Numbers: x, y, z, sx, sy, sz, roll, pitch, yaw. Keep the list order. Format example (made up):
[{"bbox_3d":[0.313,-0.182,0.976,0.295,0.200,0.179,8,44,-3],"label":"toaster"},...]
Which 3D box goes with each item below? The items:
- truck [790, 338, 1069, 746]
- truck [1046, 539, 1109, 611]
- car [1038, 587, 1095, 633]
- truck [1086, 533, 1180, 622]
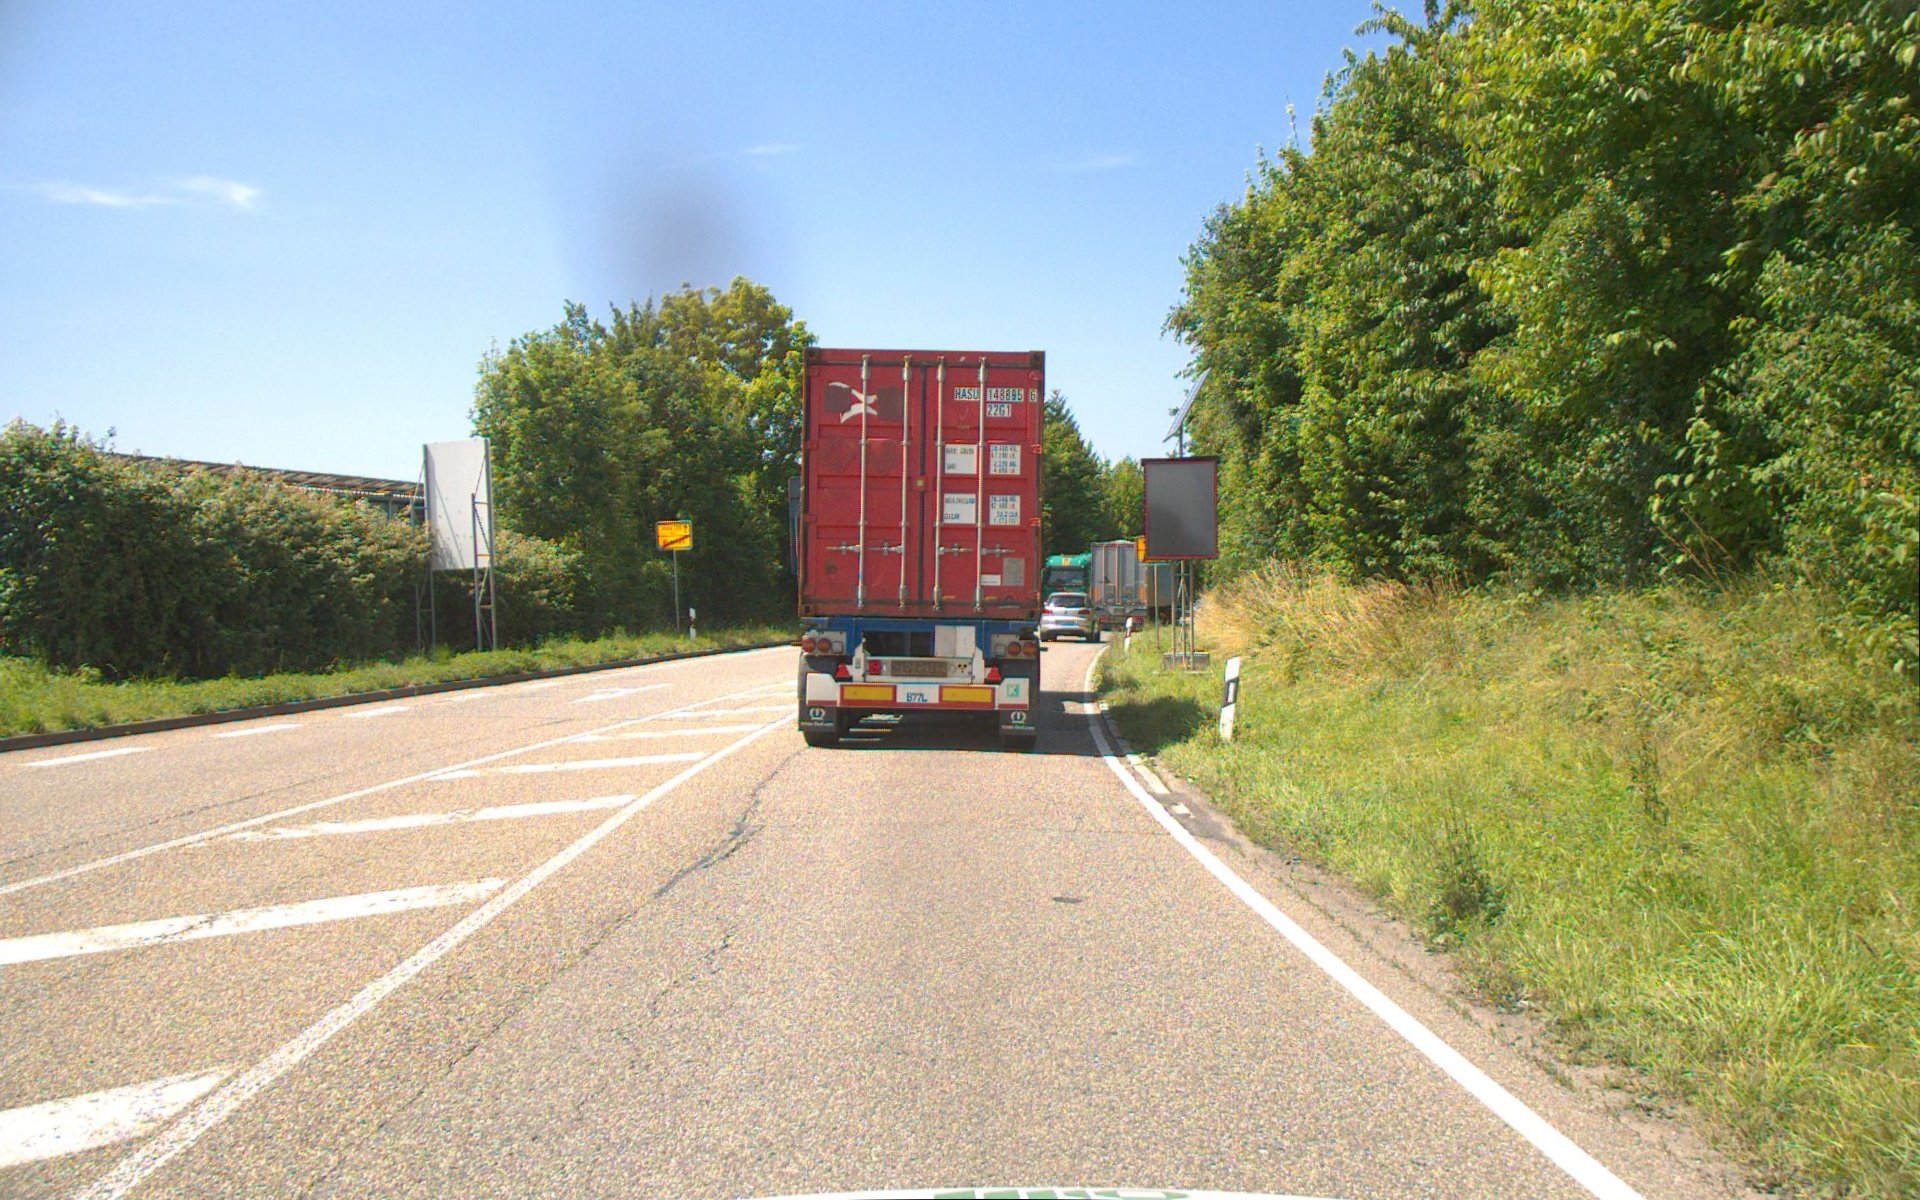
[{"bbox_3d":[-0.159,-0.532,22.748,2.593,3.873,13.361,2,0,1],"label":"truck"},{"bbox_3d":[6.572,-1.318,91.478,2.524,3.744,7.882,1,0,11],"label":"truck"},{"bbox_3d":[3.683,0.313,56.749,1.794,1.458,4.003,-2,0,5],"label":"car"},{"bbox_3d":[8.411,-1.076,78.796,2.859,3.781,13.372,-2,0,12],"label":"truck"}]
